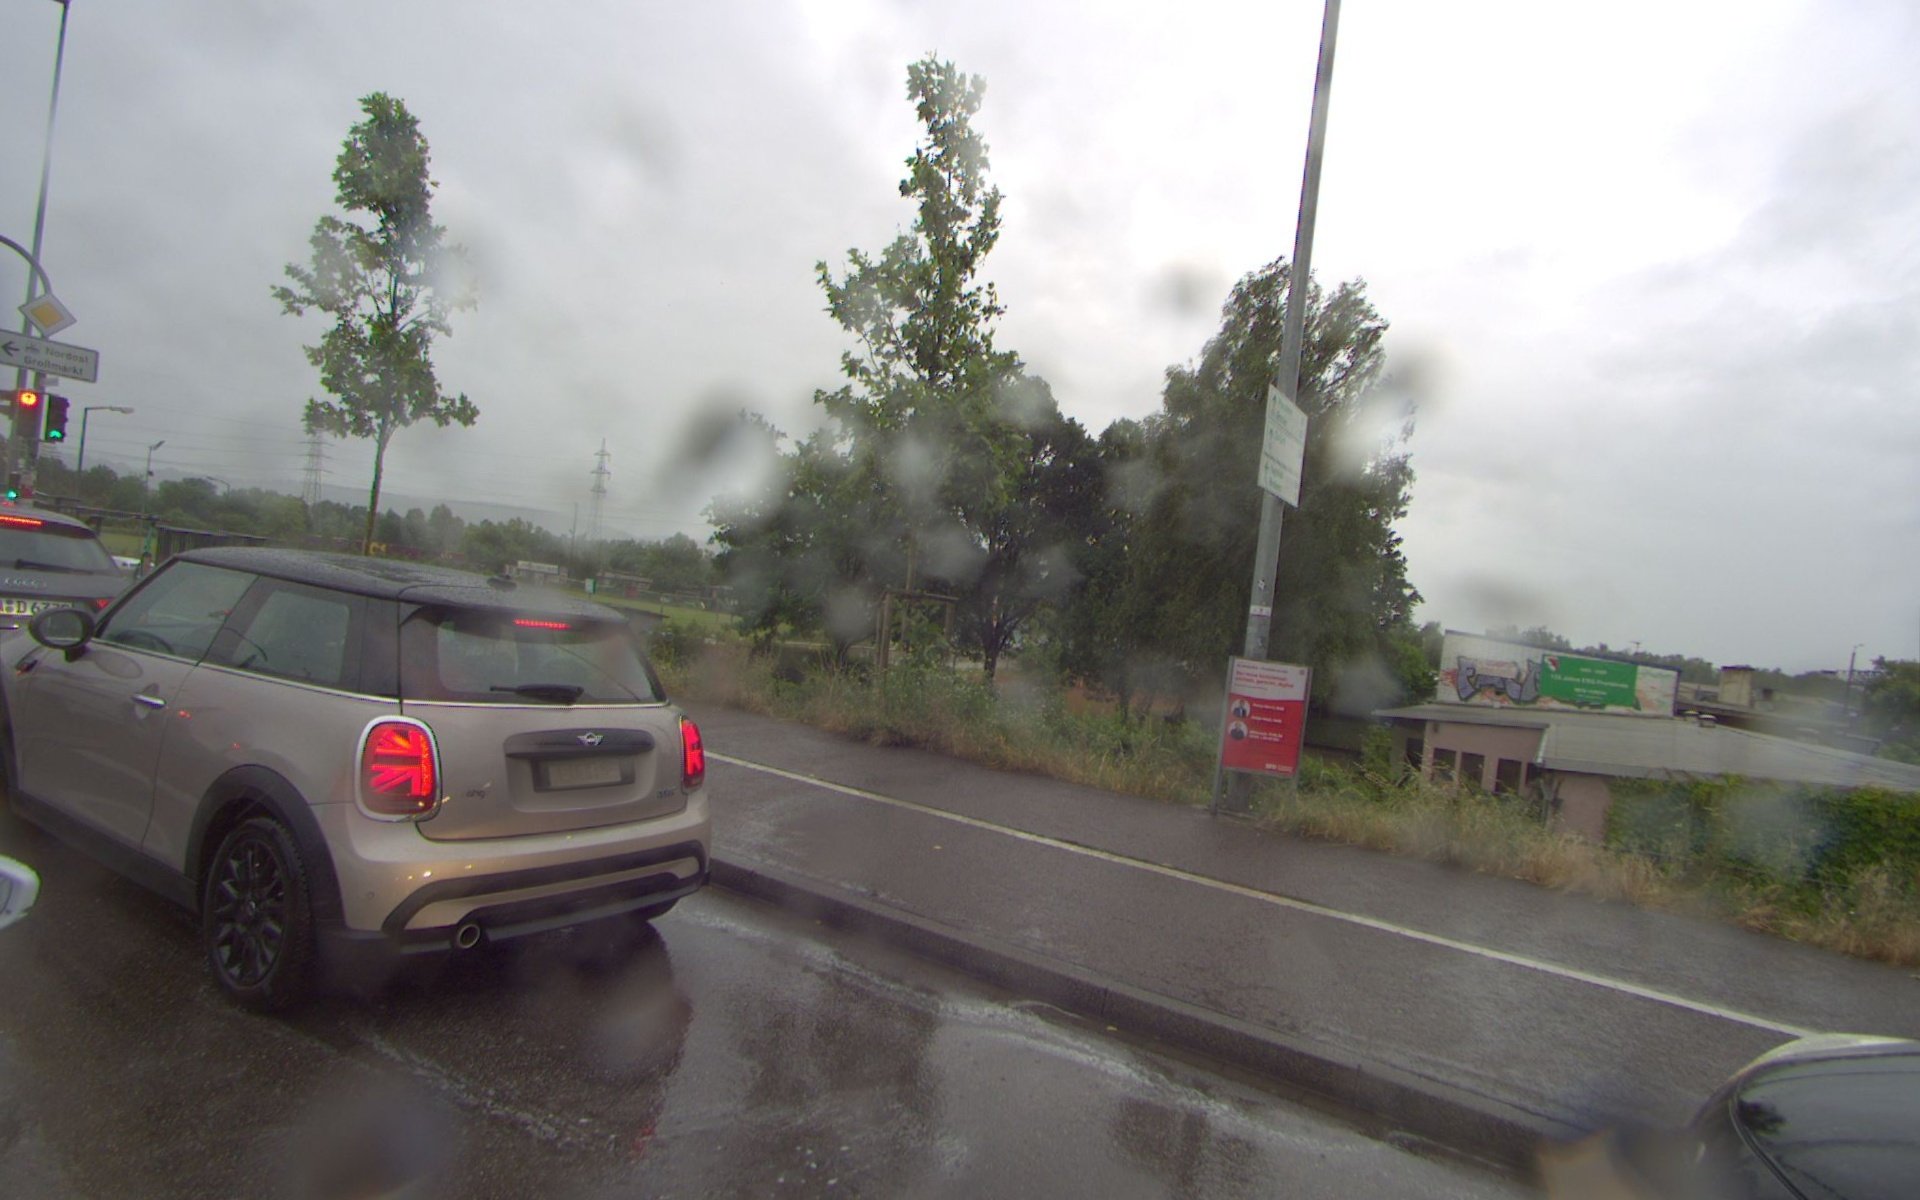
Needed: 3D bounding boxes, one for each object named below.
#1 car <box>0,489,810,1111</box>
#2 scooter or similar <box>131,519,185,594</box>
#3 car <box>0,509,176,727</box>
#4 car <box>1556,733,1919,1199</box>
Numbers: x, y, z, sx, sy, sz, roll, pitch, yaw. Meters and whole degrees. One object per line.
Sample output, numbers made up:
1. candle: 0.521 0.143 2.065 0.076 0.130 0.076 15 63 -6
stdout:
1. car: -2.659 0.500 4.323 3.563 1.525 1.717 7 -2 31
2. scooter or similar: -13.592 -0.744 17.037 1.167 1.171 0.246 6 -1 33
3. car: -7.485 -0.045 7.228 3.563 1.360 1.632 6 -2 31
4. car: 2.774 1.184 1.064 3.563 1.445 1.632 7 -1 31
